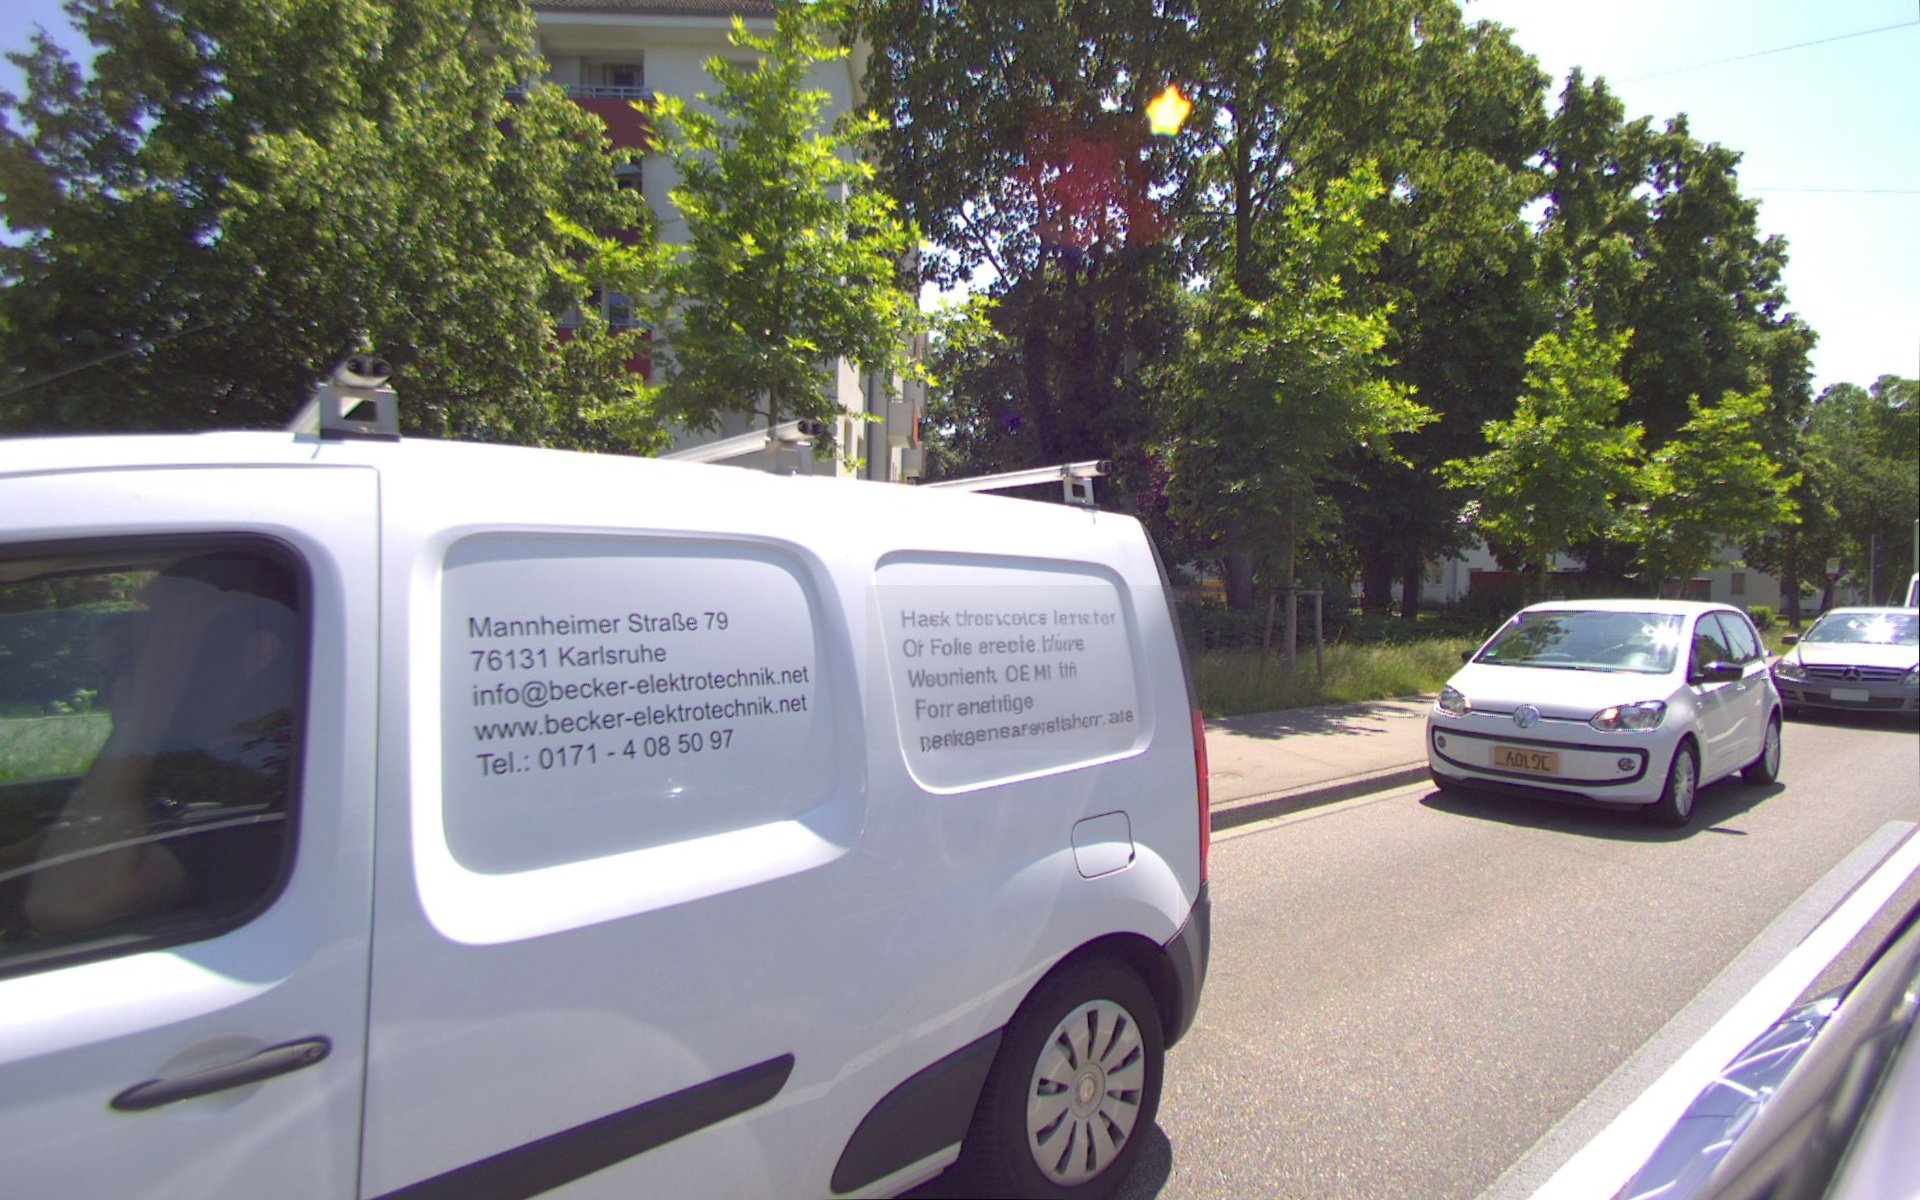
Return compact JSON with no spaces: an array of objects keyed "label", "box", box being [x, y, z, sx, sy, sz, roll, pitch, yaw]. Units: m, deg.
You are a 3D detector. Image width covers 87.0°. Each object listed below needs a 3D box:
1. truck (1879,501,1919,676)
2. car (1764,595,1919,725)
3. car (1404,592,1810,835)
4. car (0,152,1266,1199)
[{"label":"truck","box":[21.832,-0.205,21.136,8.156,3.319,2.296,0,1,-36]},{"label":"car","box":[12.120,0.673,13.149,3.900,1.478,1.902,0,0,-40]},{"label":"car","box":[5.235,0.685,8.008,3.786,1.468,1.662,0,0,-40]},{"label":"car","box":[-1.408,0.433,2.094,4.376,1.905,1.828,0,0,-40]}]
